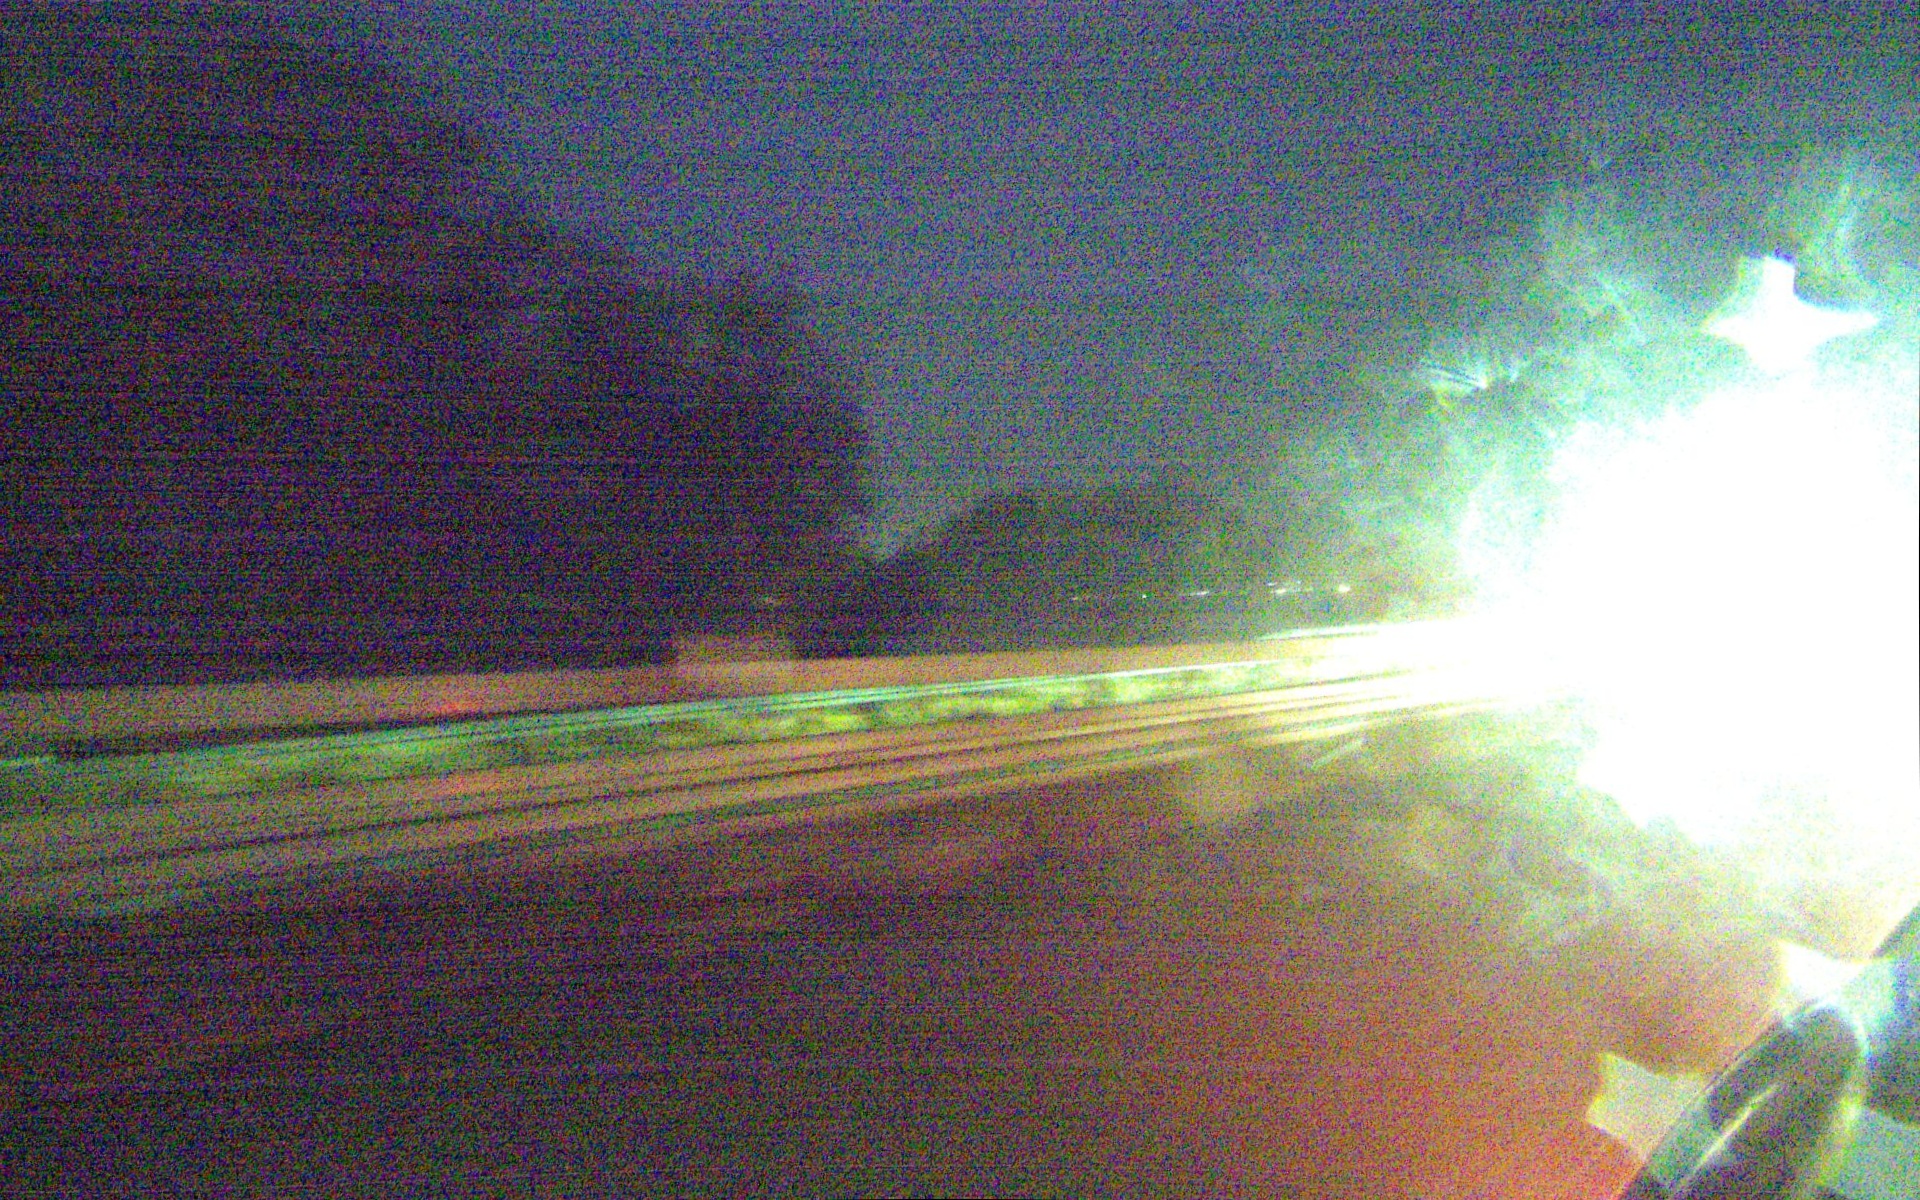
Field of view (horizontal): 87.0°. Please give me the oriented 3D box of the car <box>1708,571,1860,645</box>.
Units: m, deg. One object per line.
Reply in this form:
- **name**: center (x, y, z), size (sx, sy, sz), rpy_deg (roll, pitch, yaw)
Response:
- **car**: center (22.003, 0.202, 26.997), size (4.039, 1.706, 1.743), rpy_deg (-3, -2, -30)
